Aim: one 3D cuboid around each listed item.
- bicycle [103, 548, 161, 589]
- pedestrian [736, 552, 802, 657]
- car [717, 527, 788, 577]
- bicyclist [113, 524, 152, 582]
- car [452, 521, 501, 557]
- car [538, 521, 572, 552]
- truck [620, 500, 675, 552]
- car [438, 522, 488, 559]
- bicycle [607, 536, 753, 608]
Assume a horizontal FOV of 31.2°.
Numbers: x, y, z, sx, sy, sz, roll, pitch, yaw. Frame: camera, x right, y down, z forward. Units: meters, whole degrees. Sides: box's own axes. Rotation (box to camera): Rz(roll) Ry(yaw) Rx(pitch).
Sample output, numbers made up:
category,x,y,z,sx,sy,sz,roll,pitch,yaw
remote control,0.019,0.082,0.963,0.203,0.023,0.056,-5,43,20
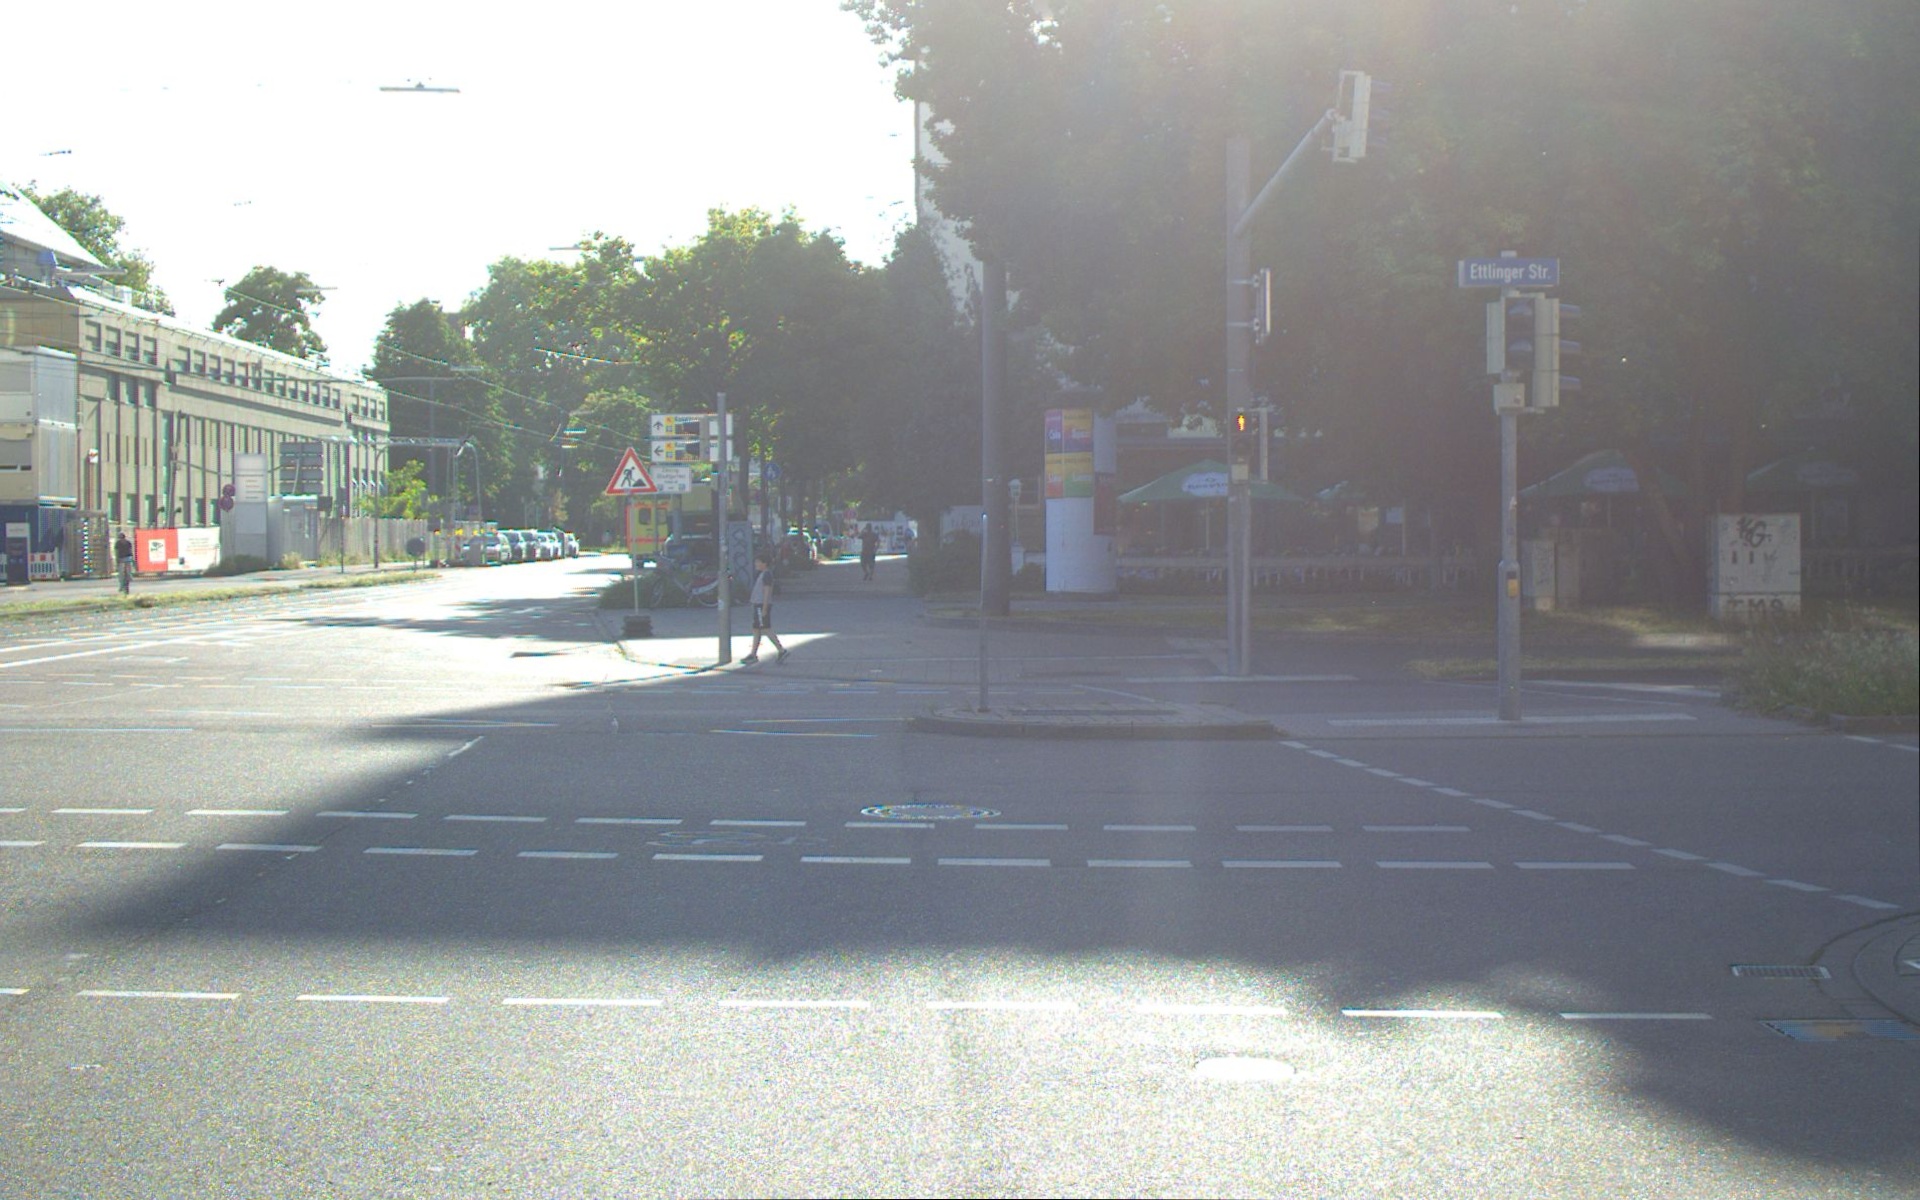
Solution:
category,x,y,z,sx,sy,sz,roll,pitch,yaw
bicycle,-23.486,-0.900,97.526,0.875,1.117,3.013,0,1,1
pedestrian,-2.462,0.056,44.308,0.752,1.328,0.742,0,1,4
car,-5.495,-1.280,91.388,1.819,1.274,4.001,0,1,-3
bicyclist,-23.461,-1.342,97.506,0.875,1.636,0.822,0,1,1
car,-22.515,-2.822,160.151,1.731,1.647,4.000,0,1,-1
car,-22.823,-3.575,193.669,1.483,1.744,4.000,-1,1,-1
truck,-12.773,-3.023,140.656,1.915,2.085,4.000,0,1,-1
car,-22.557,-2.704,156.051,1.731,1.647,4.000,0,1,-1
bicycle,-5.466,-0.556,67.148,2.748,1.363,0.630,1,0,11
